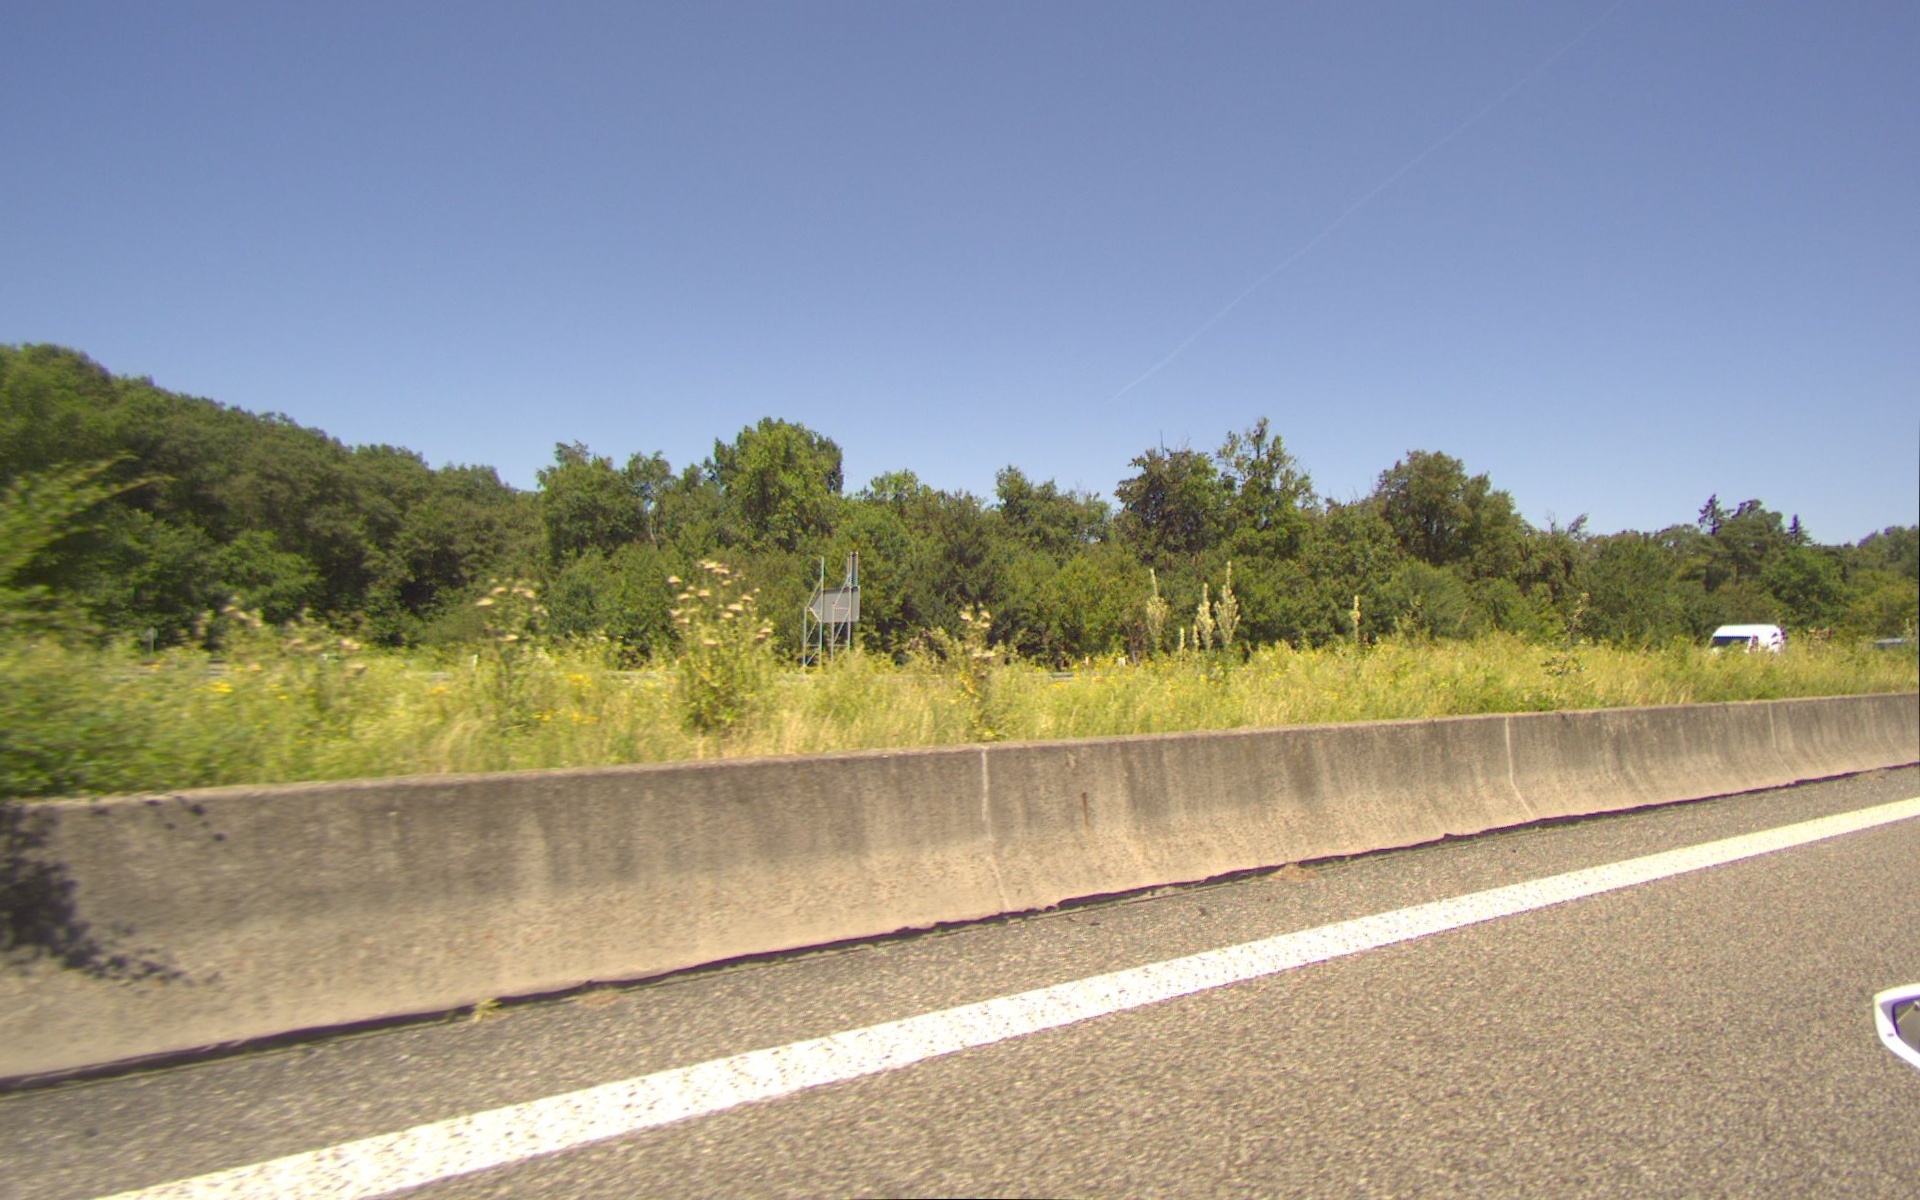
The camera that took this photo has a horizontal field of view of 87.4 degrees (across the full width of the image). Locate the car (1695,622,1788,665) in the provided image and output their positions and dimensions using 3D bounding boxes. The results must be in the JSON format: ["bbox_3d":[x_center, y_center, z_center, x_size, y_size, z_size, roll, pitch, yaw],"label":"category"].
[{"bbox_3d":[39.888,2.210,51.269,5.125,2.040,1.984,2,-1,-30],"label":"car"}]
